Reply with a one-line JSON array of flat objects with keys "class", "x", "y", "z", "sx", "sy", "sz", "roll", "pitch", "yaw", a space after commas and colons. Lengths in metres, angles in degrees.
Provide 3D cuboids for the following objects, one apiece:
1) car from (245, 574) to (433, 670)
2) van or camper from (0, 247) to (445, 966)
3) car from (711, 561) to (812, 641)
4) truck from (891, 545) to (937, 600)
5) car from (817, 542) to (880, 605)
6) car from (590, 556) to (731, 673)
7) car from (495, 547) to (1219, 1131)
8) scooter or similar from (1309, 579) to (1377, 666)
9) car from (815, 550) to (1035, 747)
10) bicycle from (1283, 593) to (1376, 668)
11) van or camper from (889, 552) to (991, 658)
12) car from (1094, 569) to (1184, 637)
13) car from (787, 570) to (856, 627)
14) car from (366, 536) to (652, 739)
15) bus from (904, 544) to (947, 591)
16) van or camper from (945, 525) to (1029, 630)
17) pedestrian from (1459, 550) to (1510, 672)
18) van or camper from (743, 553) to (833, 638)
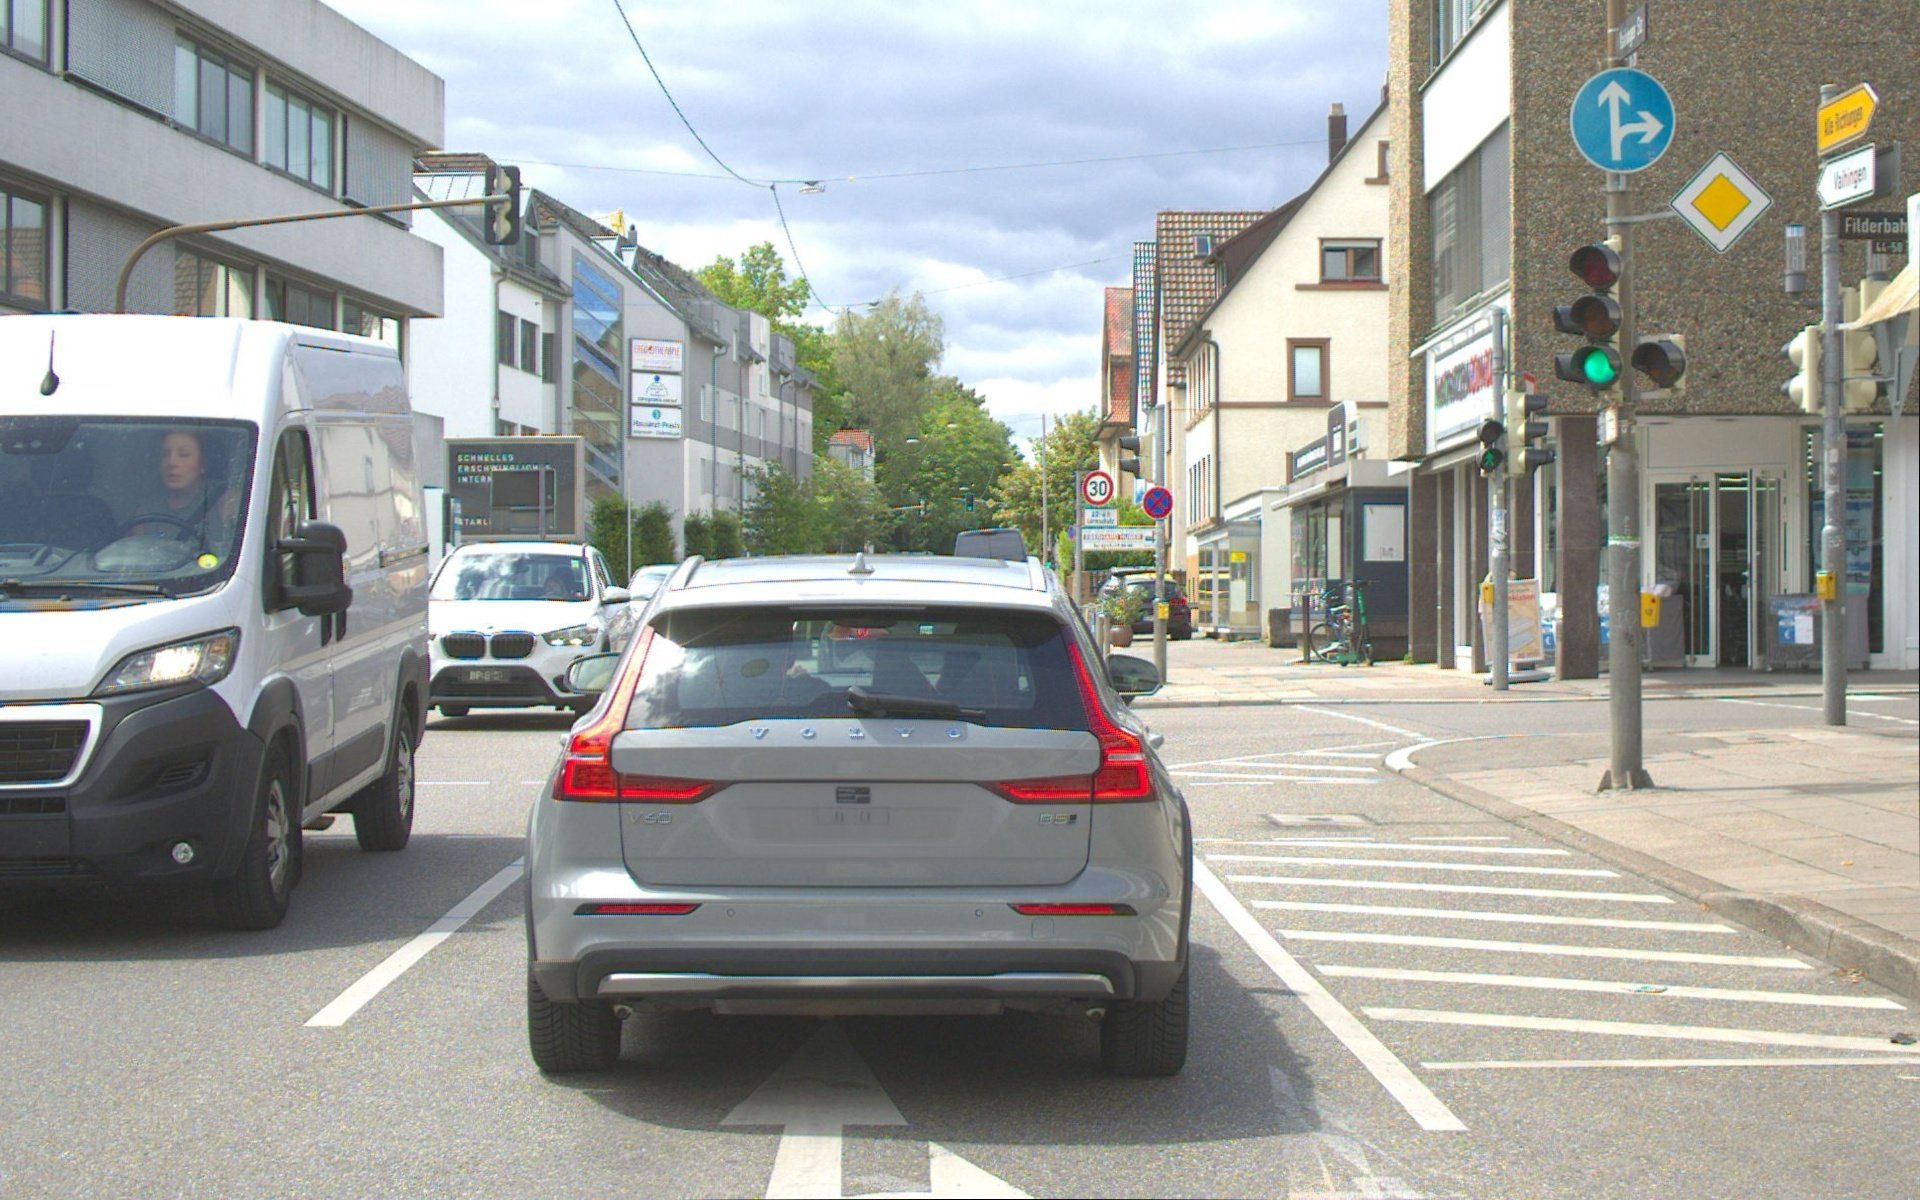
[{"class": "car", "x": -9.946, "y": 0.326, "z": 55.424, "sx": 1.904, "sy": 1.438, "sz": 4.442, "roll": 1, "pitch": 1, "yaw": 4}, {"class": "van or camper", "x": -3.658, "y": -0.020, "z": 14.943, "sx": 2.148, "sy": 2.547, "sz": 5.438, "roll": -1, "pitch": 1, "yaw": -2}, {"class": "car", "x": -3.866, "y": 0.023, "z": 67.498, "sx": 1.683, "sy": 1.492, "sz": 3.967, "roll": -1, "pitch": 0, "yaw": 1}, {"class": "truck", "x": -2.472, "y": -1.494, "z": 185.711, "sx": 2.276, "sy": 2.877, "sz": 7.079, "roll": -1, "pitch": 0, "yaw": 1}, {"class": "car", "x": -3.461, "y": -0.810, "z": 107.024, "sx": 1.838, "sy": 1.911, "sz": 4.156, "roll": 1, "pitch": 0, "yaw": 0}, {"class": "car", "x": -4.317, "y": 0.203, "z": 50.002, "sx": 1.789, "sy": 1.584, "sz": 4.101, "roll": -1, "pitch": 0, "yaw": -2}, {"class": "car", "x": -0.278, "y": 0.578, "z": 10.734, "sx": 1.836, "sy": 1.481, "sz": 4.000, "roll": 0, "pitch": 1, "yaw": 0}, {"class": "scooter or similar", "x": 5.678, "y": 0.341, "z": 50.952, "sx": 0.340, "sy": 1.249, "sz": 1.246, "roll": -2, "pitch": 0, "yaw": -26}, {"class": "car", "x": -0.273, "y": 0.373, "z": 27.883, "sx": 1.650, "sy": 1.477, "sz": 3.607, "roll": 1, "pitch": 0, "yaw": 0}, {"class": "bicycle", "x": 5.763, "y": 0.468, "z": 53.803, "sx": 0.554, "sy": 1.140, "sz": 2.301, "roll": -1, "pitch": 0, "yaw": -18}, {"class": "van or camper", "x": -0.367, "y": 0.124, "z": 63.237, "sx": 1.819, "sy": 1.829, "sz": 4.000, "roll": 0, "pitch": -2, "yaw": 0}, {"class": "car", "x": 4.084, "y": 0.087, "z": 78.779, "sx": 1.710, "sy": 1.459, "sz": 4.000, "roll": 1, "pitch": -1, "yaw": -2}, {"class": "car", "x": -3.798, "y": -0.055, "z": 94.742, "sx": 1.668, "sy": 1.548, "sz": 4.215, "roll": 0, "pitch": 0, "yaw": 1}, {"class": "car", "x": -3.916, "y": 0.293, "z": 30.494, "sx": 1.780, "sy": 1.634, "sz": 4.220, "roll": -2, "pitch": 0, "yaw": 2}, {"class": "bus", "x": -2.019, "y": -1.882, "z": 202.325, "sx": 2.276, "sy": 2.659, "sz": 7.429, "roll": -1, "pitch": 0, "yaw": 1}, {"class": "van or camper", "x": 0.723, "y": -0.586, "z": 90.645, "sx": 2.123, "sy": 2.677, "sz": 4.781, "roll": -1, "pitch": 0, "yaw": 1}, {"class": "pedestrian", "x": 6.365, "y": 0.131, "z": 41.707, "sx": 0.504, "sy": 1.454, "sz": 0.499, "roll": -3, "pitch": -1, "yaw": 14}, {"class": "van or camper", "x": -3.973, "y": -0.134, "z": 80.138, "sx": 1.864, "sy": 1.891, "sz": 4.692, "roll": 0, "pitch": 1, "yaw": 0}]
